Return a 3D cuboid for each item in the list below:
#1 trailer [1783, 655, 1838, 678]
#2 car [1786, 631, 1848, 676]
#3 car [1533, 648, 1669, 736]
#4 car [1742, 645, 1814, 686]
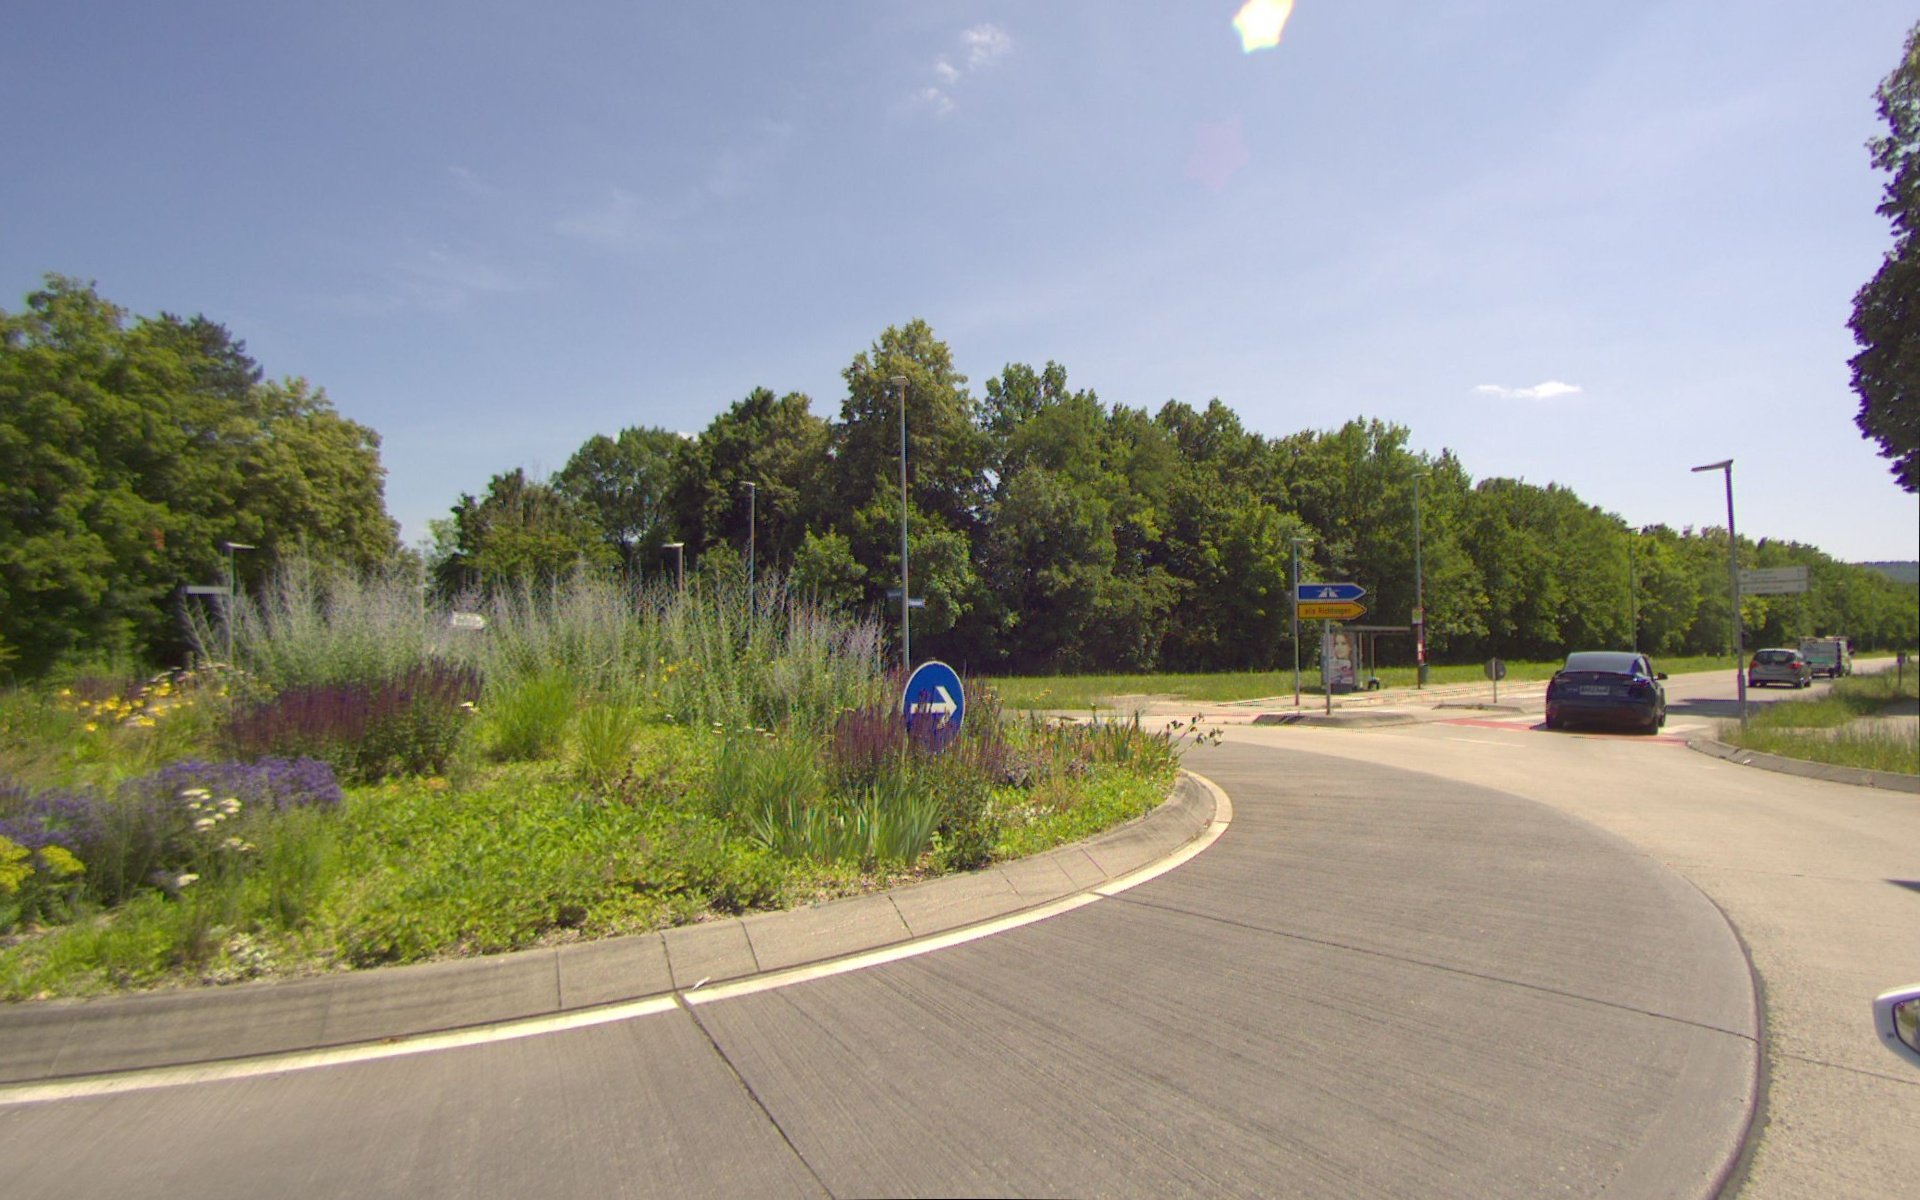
[{"bbox_3d":[43.961,3.421,51.905,2.097,1.112,3.338,-1,-3,41],"label":"trailer"},{"bbox_3d":[46.869,2.928,54.897,4.949,2.346,2.145,3,-3,-44],"label":"car"},{"bbox_3d":[13.799,1.862,21.499,1.969,1.661,4.738,-2,-3,38],"label":"car"},{"bbox_3d":[34.539,2.739,42.382,4.097,1.628,1.769,3,-3,-42],"label":"car"}]
